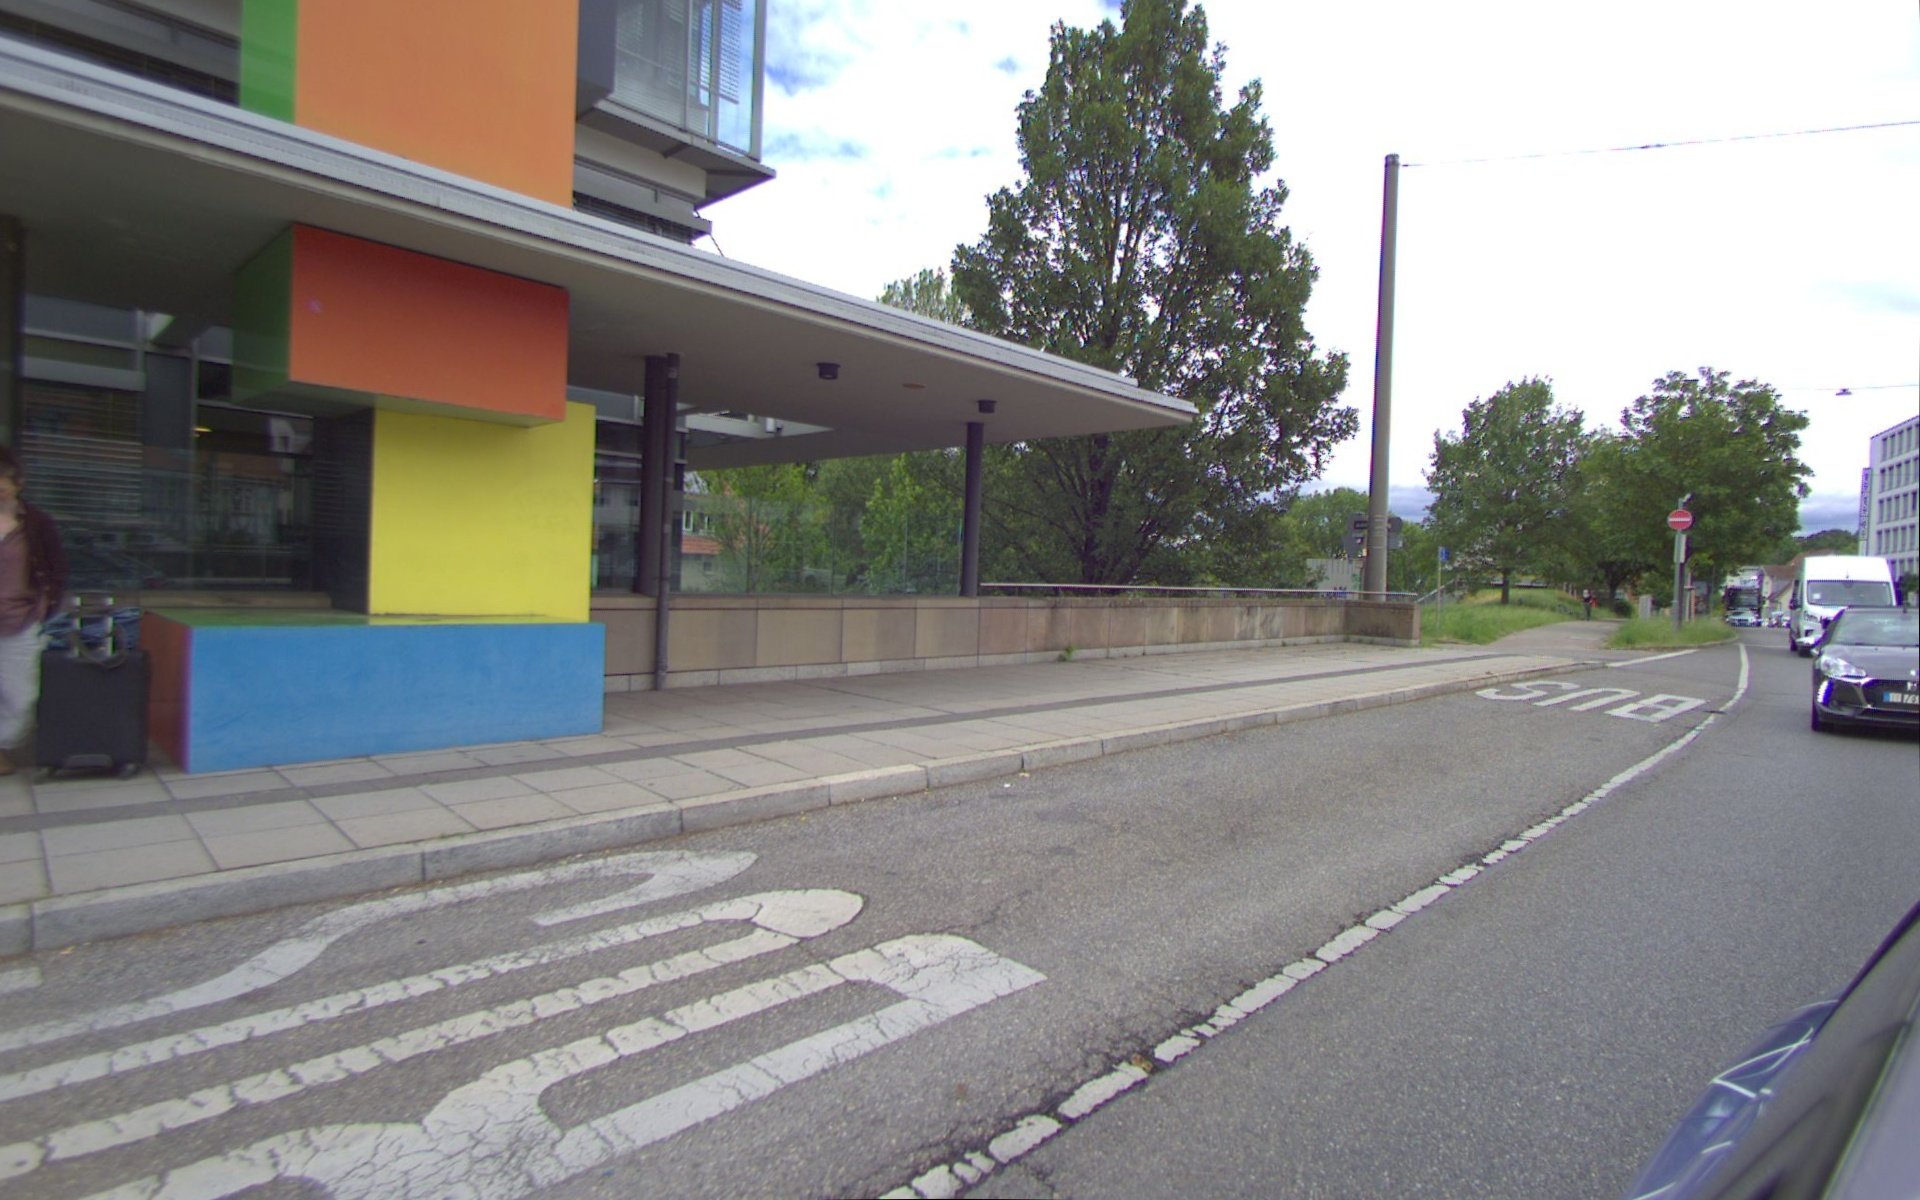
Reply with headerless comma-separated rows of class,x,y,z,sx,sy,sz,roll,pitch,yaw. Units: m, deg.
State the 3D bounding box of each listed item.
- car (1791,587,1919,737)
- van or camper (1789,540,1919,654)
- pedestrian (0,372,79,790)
car,11.489,0.664,12.218,1.853,1.543,3.950,3,3,35
van or camper,24.592,-0.157,27.985,2.270,2.739,6.899,3,3,38
pedestrian,-5.172,-0.116,5.242,0.866,2.038,1.141,0,3,-44
